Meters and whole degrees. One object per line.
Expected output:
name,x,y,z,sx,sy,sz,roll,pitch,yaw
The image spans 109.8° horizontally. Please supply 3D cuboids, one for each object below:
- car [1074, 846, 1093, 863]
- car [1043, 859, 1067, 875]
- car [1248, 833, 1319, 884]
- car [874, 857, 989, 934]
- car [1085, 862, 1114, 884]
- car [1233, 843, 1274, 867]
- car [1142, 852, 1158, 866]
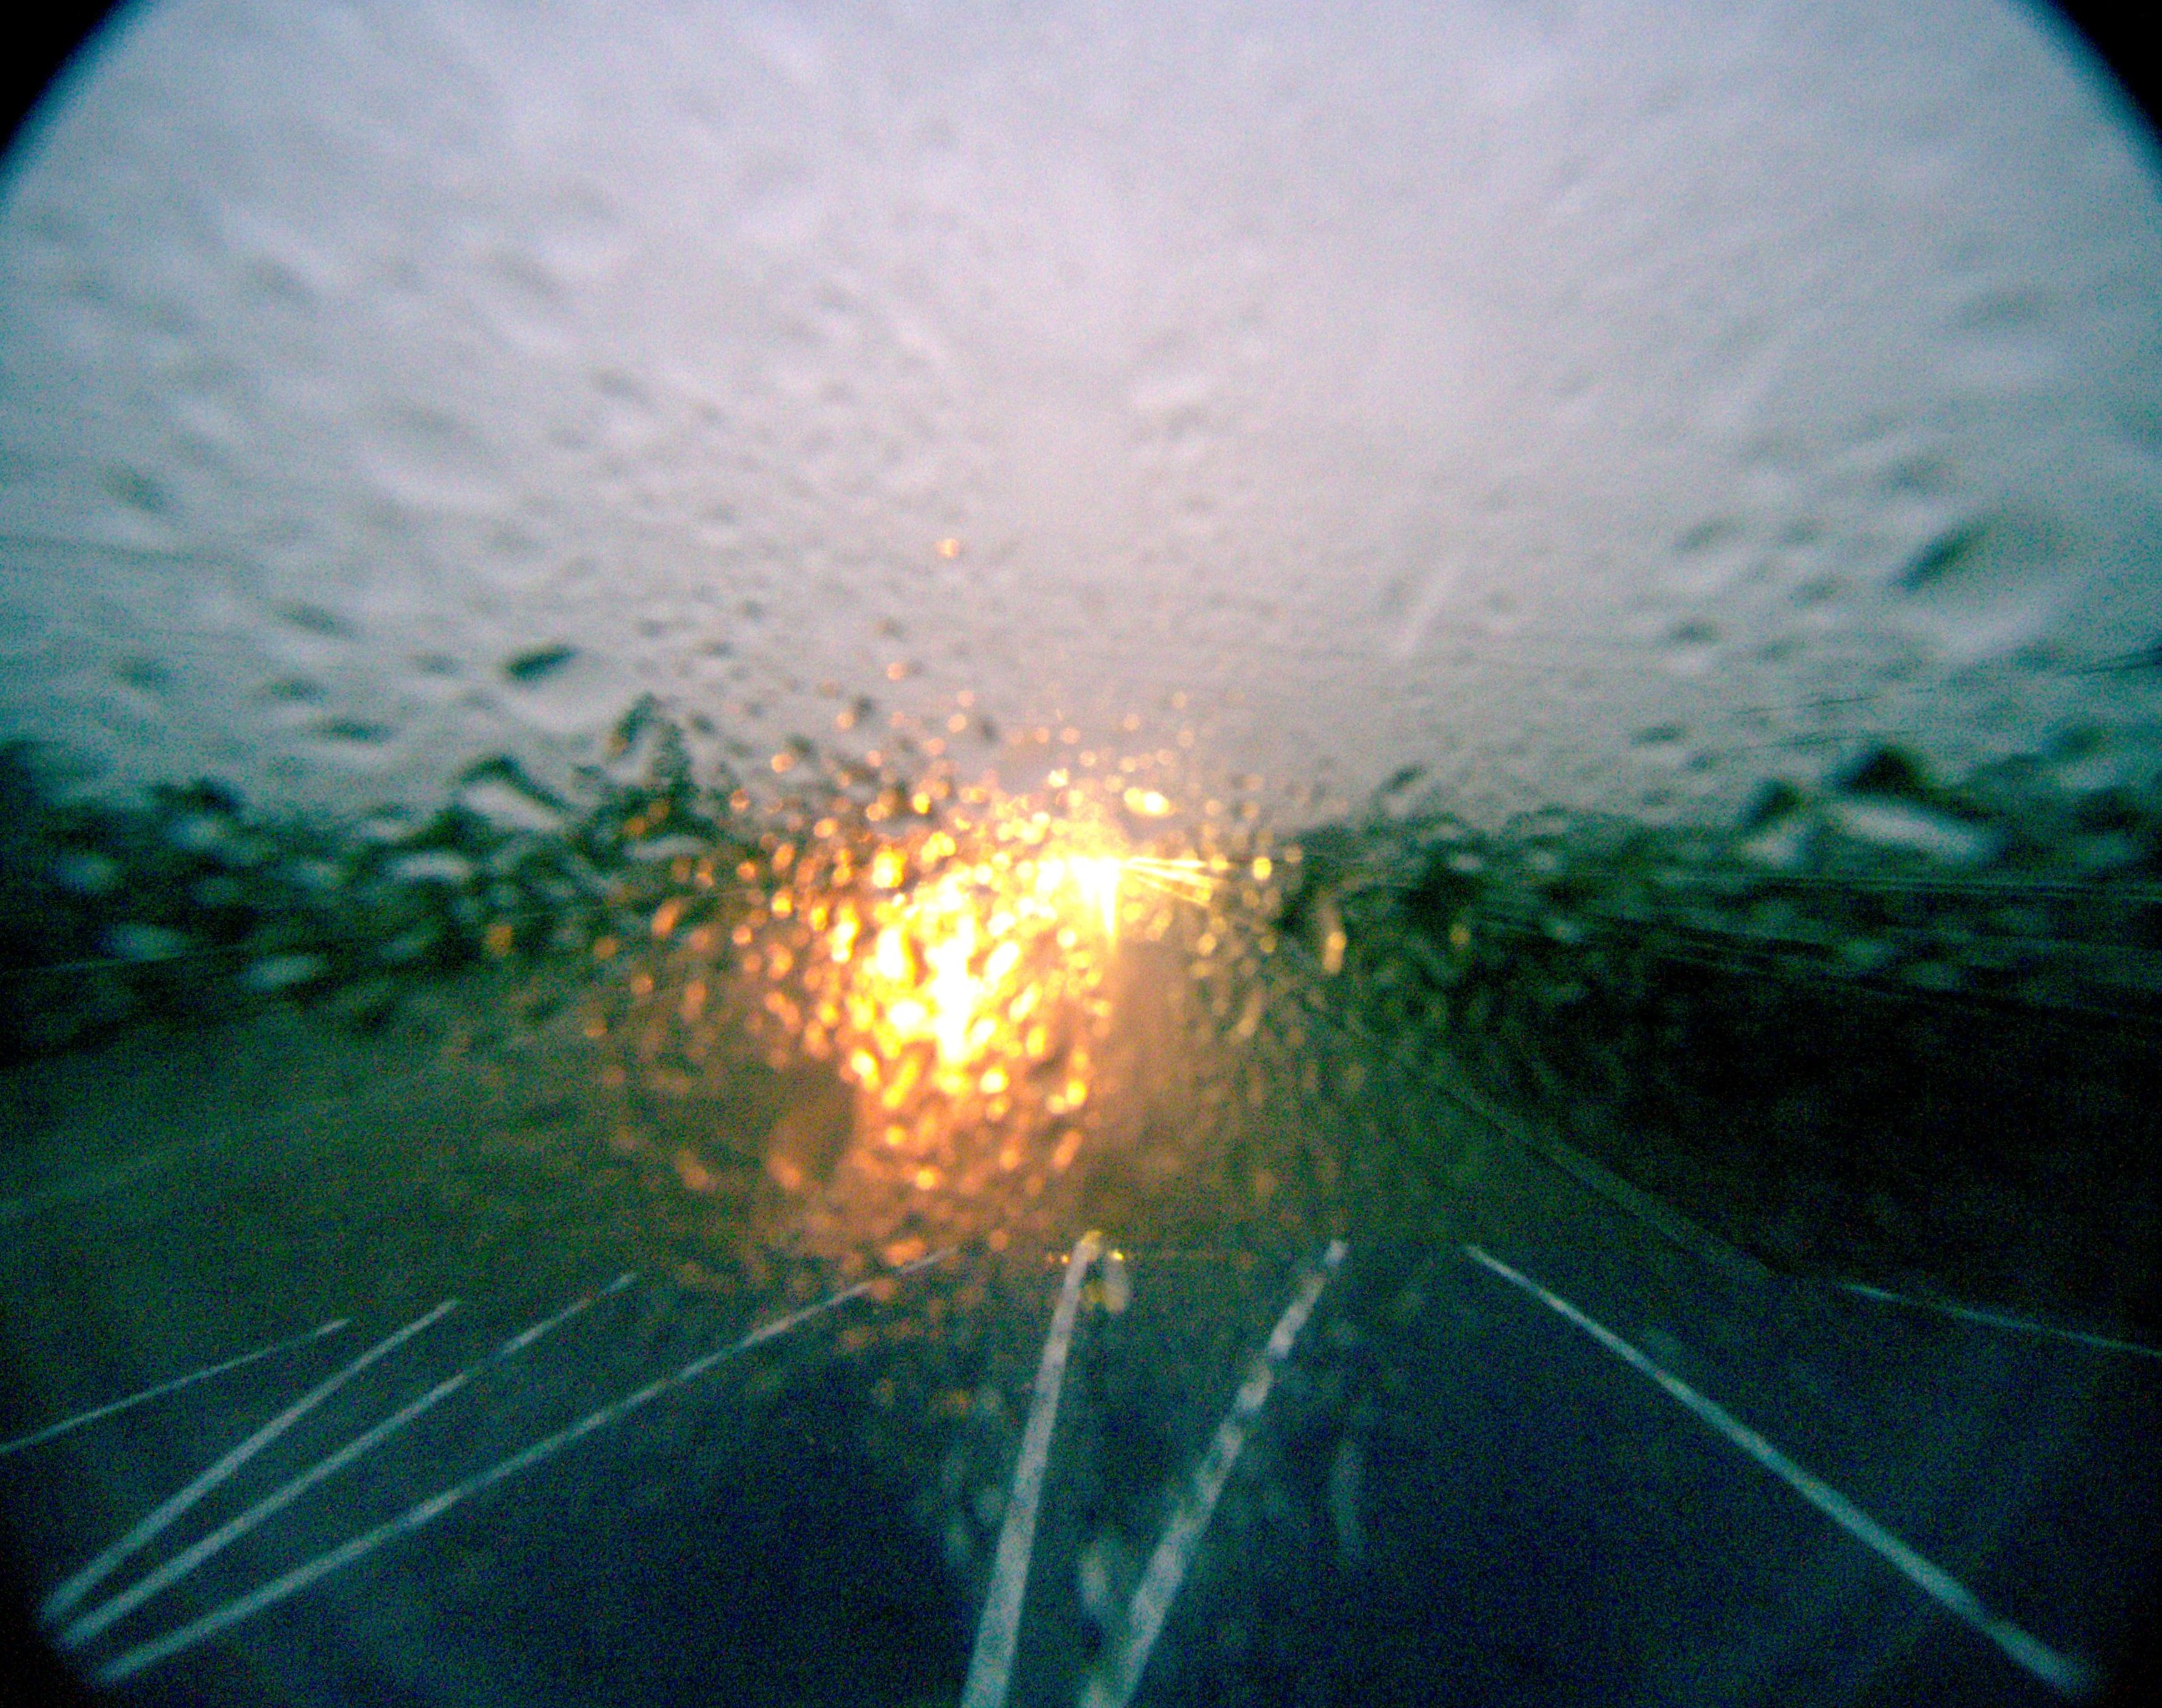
car,0.254,0.020,87.927,1.899,1.731,3.652,-8,1,0
car,-2.519,1.266,74.020,1.849,1.520,4.151,-1,-1,4
car,8.516,0.187,32.288,1.998,2.002,4.000,-1,0,1
car,-3.451,0.896,18.316,1.850,1.445,4.147,-2,1,0
car,1.407,1.377,55.972,1.849,1.520,4.151,-1,-1,4
car,13.209,0.075,58.468,2.169,1.781,4.809,-1,0,1
car,10.628,0.824,117.733,2.075,2.102,4.762,-1,0,1
